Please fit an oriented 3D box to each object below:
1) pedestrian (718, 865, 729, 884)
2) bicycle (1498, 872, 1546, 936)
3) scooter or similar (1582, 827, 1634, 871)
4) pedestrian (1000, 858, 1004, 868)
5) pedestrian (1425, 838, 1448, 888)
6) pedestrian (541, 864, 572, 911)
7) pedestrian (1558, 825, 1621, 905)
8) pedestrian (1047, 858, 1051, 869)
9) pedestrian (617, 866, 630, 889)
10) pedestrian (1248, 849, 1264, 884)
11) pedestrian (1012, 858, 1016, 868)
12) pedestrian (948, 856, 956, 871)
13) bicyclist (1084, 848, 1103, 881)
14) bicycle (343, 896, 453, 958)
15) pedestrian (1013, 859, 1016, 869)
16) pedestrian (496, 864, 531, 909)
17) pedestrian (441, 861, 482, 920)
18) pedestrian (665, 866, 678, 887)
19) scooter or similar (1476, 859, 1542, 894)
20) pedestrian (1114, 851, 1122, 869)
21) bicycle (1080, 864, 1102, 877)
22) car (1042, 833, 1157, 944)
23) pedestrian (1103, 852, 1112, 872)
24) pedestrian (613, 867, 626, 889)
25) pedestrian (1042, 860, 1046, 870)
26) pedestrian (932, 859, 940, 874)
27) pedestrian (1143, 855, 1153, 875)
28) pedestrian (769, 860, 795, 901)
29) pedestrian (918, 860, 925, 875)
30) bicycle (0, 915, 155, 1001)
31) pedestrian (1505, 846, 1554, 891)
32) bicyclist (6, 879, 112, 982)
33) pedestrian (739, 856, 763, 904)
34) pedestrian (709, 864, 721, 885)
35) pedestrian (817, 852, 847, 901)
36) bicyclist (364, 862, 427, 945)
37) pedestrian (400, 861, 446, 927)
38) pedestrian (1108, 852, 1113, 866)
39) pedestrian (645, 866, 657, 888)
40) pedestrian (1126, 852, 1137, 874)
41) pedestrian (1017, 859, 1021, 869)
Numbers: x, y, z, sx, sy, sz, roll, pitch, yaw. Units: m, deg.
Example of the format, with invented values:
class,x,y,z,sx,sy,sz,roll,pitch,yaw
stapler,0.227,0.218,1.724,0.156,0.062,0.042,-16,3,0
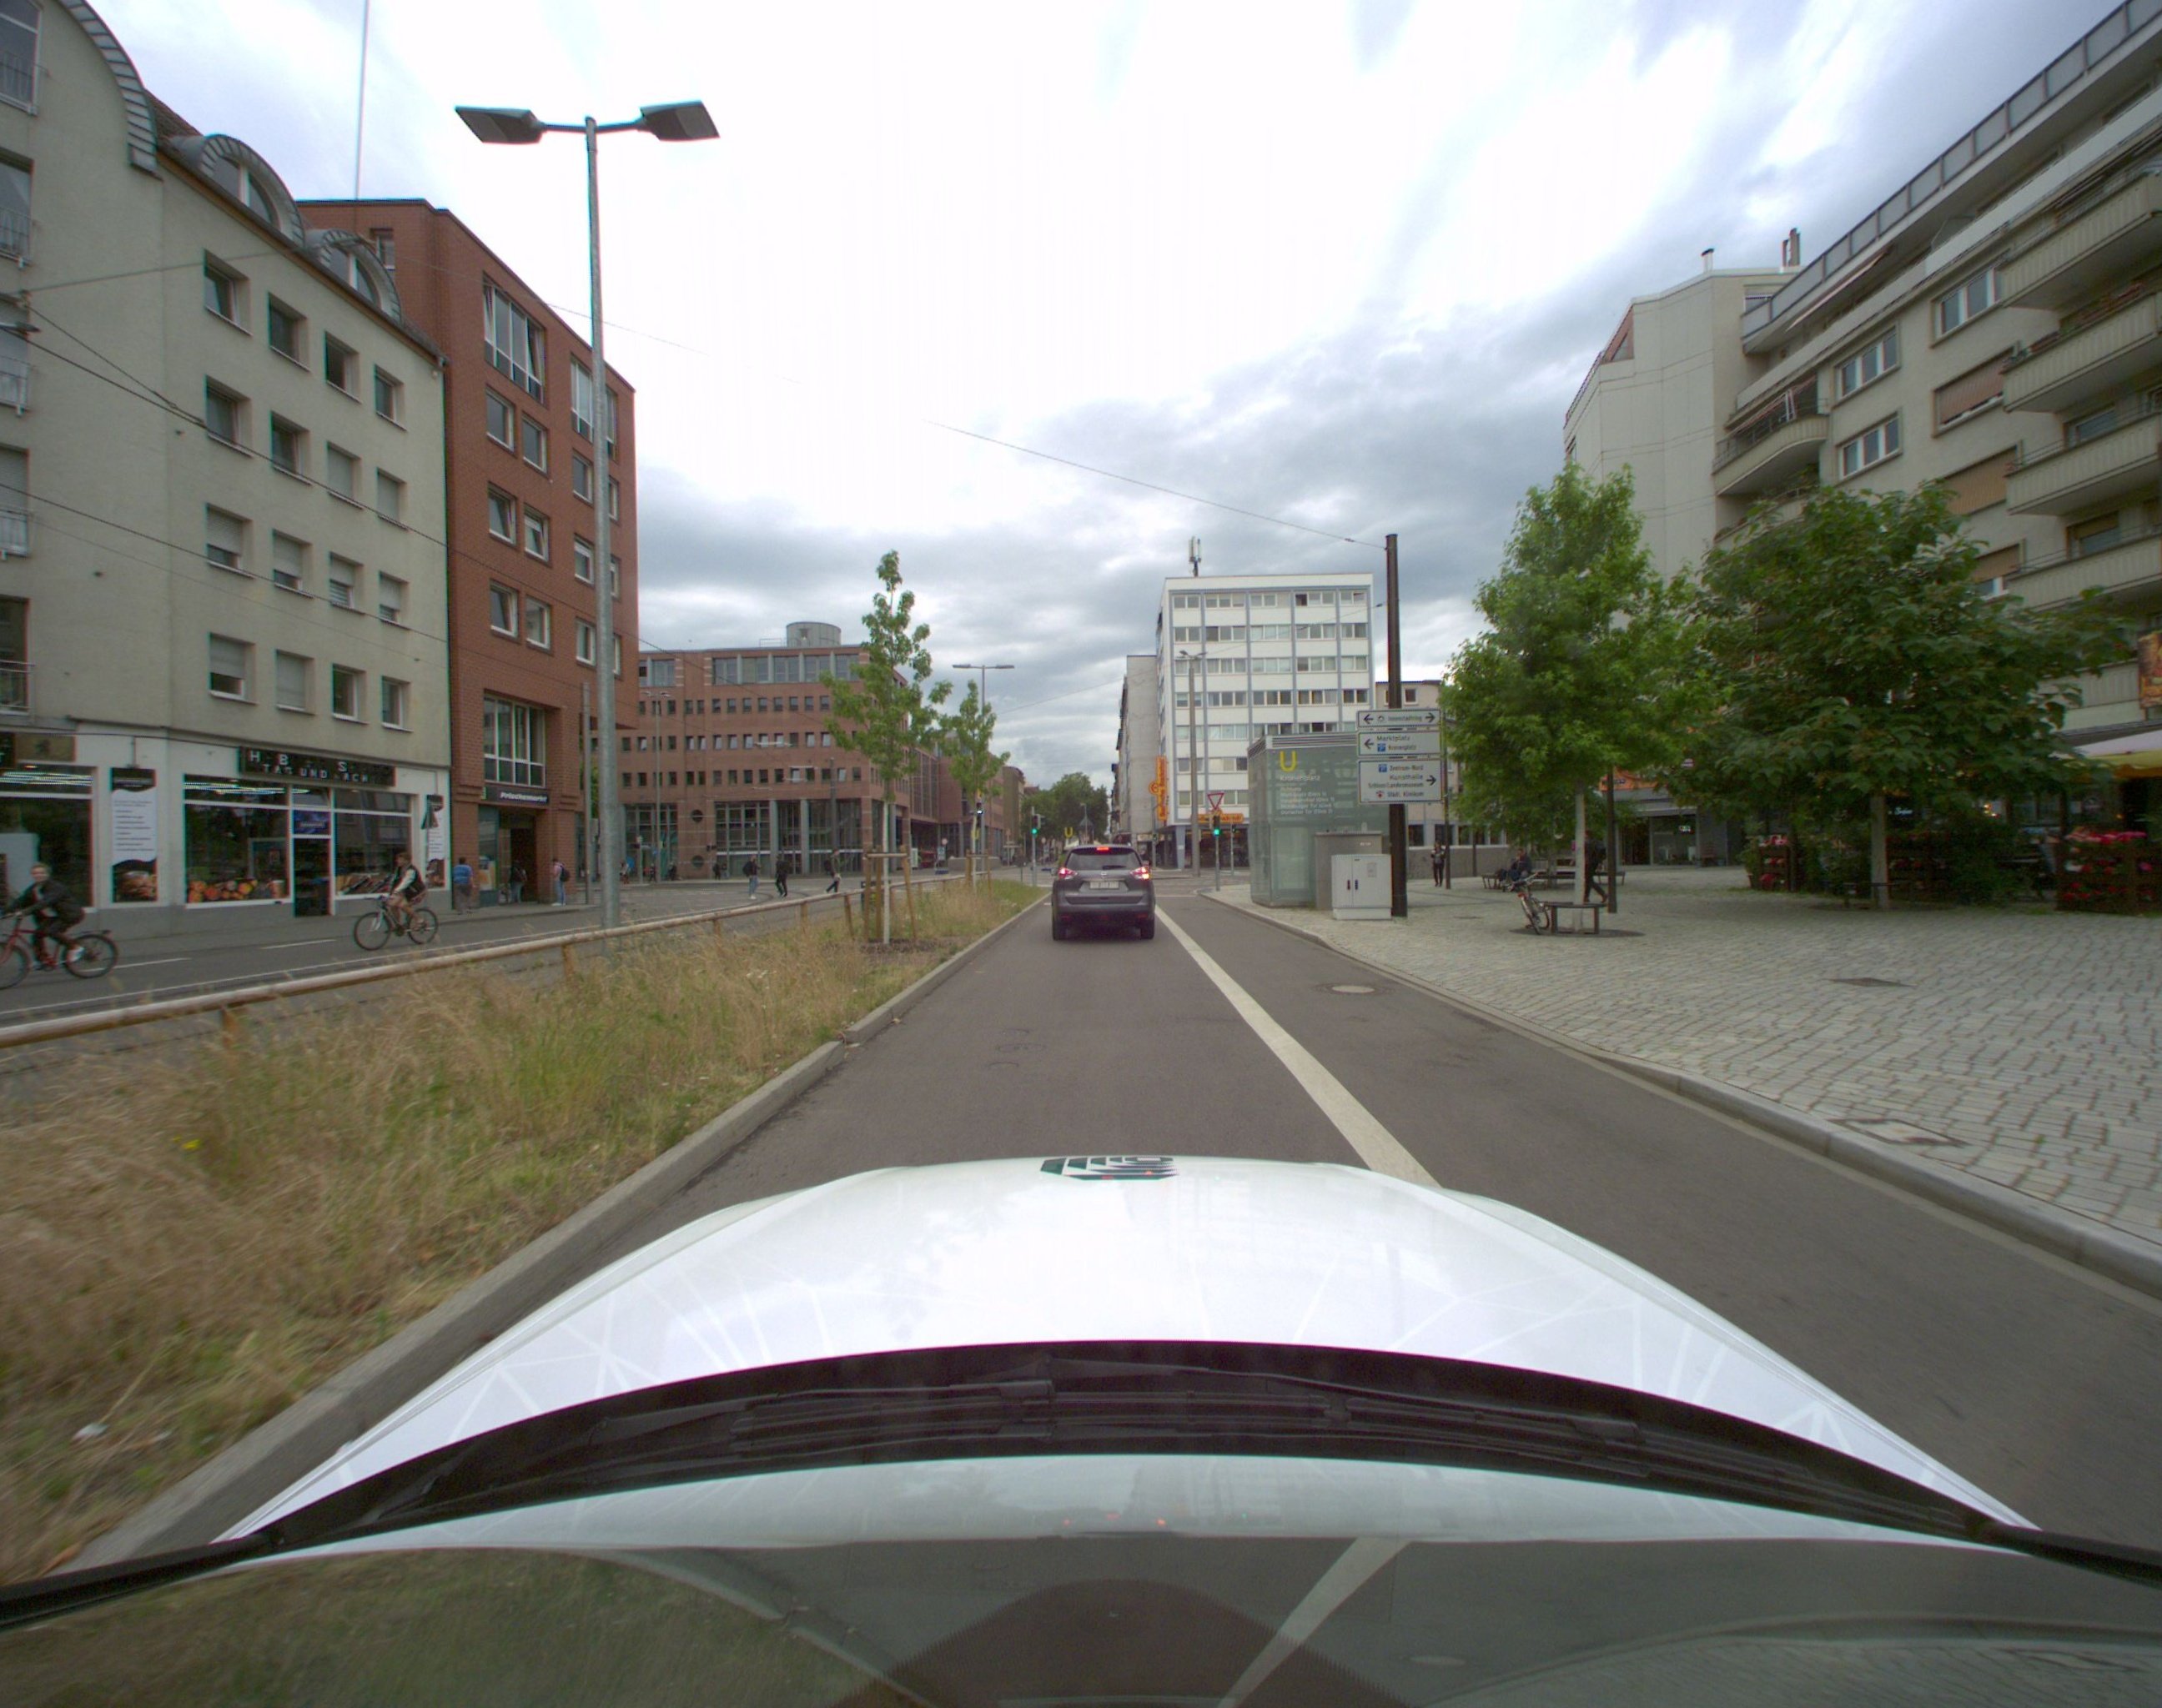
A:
class,x,y,z,sx,sy,sz,roll,pitch,yaw
pedestrian,-30.074,1.697,68.532,0.741,1.560,0.572,0,-2,-9
bicycle,7.634,0.825,14.071,0.651,0.978,1.765,-2,0,30
scooter or similar,22.939,-0.204,35.504,1.077,1.806,2.280,-2,0,10
pedestrian,-13.563,1.533,140.177,0.599,1.714,0.654,0,0,-6
pedestrian,12.799,0.316,29.328,0.666,1.761,0.644,0,0,17
pedestrian,-18.835,1.193,29.271,0.568,1.684,0.798,0,-1,-3
pedestrian,12.069,0.268,19.366,0.711,1.802,1.078,-4,-1,1
pedestrian,-5.402,1.616,138.252,0.599,1.714,0.654,0,0,-6
pedestrian,-32.854,1.703,58.451,0.572,1.612,0.628,0,-2,-6
pedestrian,9.000,0.628,41.930,0.620,1.761,0.778,0,0,-6
pedestrian,-10.686,1.446,129.922,0.599,1.714,0.654,0,0,-6
pedestrian,-16.128,1.190,101.467,0.694,1.842,0.738,0,0,21
bicyclist,0.701,0.556,44.616,0.836,1.812,0.873,0,0,-16
bicycle,-13.159,1.382,15.760,0.474,1.021,1.912,-2,0,0
pedestrian,-11.024,1.642,134.982,0.599,1.714,0.654,0,0,-6
pedestrian,-21.545,1.216,30.904,0.742,1.684,0.798,0,-1,-3
pedestrian,-18.110,1.052,23.821,0.659,1.687,0.721,-1,-2,-8
pedestrian,-30.844,1.715,61.318,0.569,1.560,0.745,-1,-2,7
scooter or similar,12.581,0.672,23.955,1.571,0.948,0.729,-3,-1,40
pedestrian,3.931,0.641,86.503,0.735,1.821,0.662,-1,0,-1
bicycle,0.920,1.480,74.003,1.869,1.172,0.528,0,0,-13
car,0.470,0.647,15.881,1.855,1.775,4.571,-3,-2,4
pedestrian,2.409,0.732,73.461,0.731,1.746,0.661,0,0,-7
pedestrian,-33.468,1.730,59.063,0.572,1.612,0.628,0,-2,-6
pedestrian,-5.529,1.615,121.424,0.599,1.536,0.654,0,0,-6
pedestrian,-17.112,1.481,96.286,0.736,1.842,0.696,0,0,-27
pedestrian,5.755,0.921,69.979,0.705,1.705,0.737,0,0,14
pedestrian,-12.369,1.085,33.707,0.742,1.684,0.798,0,-1,-3
pedestrian,-19.714,1.670,100.720,0.735,1.842,0.697,0,0,-23
bicycle,-14.736,1.473,11.780,0.477,1.021,1.912,-2,0,0
pedestrian,13.559,0.434,24.634,1.039,1.297,0.734,-3,-1,6
bicyclist,-14.771,1.078,11.796,0.477,1.407,0.812,-2,0,0
pedestrian,-13.224,1.028,32.633,0.608,1.890,0.799,-1,-1,-1
pedestrian,-30.380,1.681,67.591,0.743,1.688,0.571,0,-2,-15
pedestrian,-9.746,0.895,31.928,0.894,1.890,0.799,0,-1,-1
bicyclist,-13.170,0.926,15.671,0.489,1.540,0.812,-2,0,0
pedestrian,-17.301,1.043,21.431,0.660,1.687,0.720,-1,-2,-11
pedestrian,3.476,0.622,96.501,0.640,1.705,0.559,0,0,2
pedestrian,-31.253,1.683,59.232,0.572,1.574,0.628,0,-2,-6
pedestrian,4.333,0.749,69.992,0.712,1.832,1.015,0,0,-6
pedestrian,-11.036,1.729,145.389,0.599,1.714,0.654,0,0,-6
